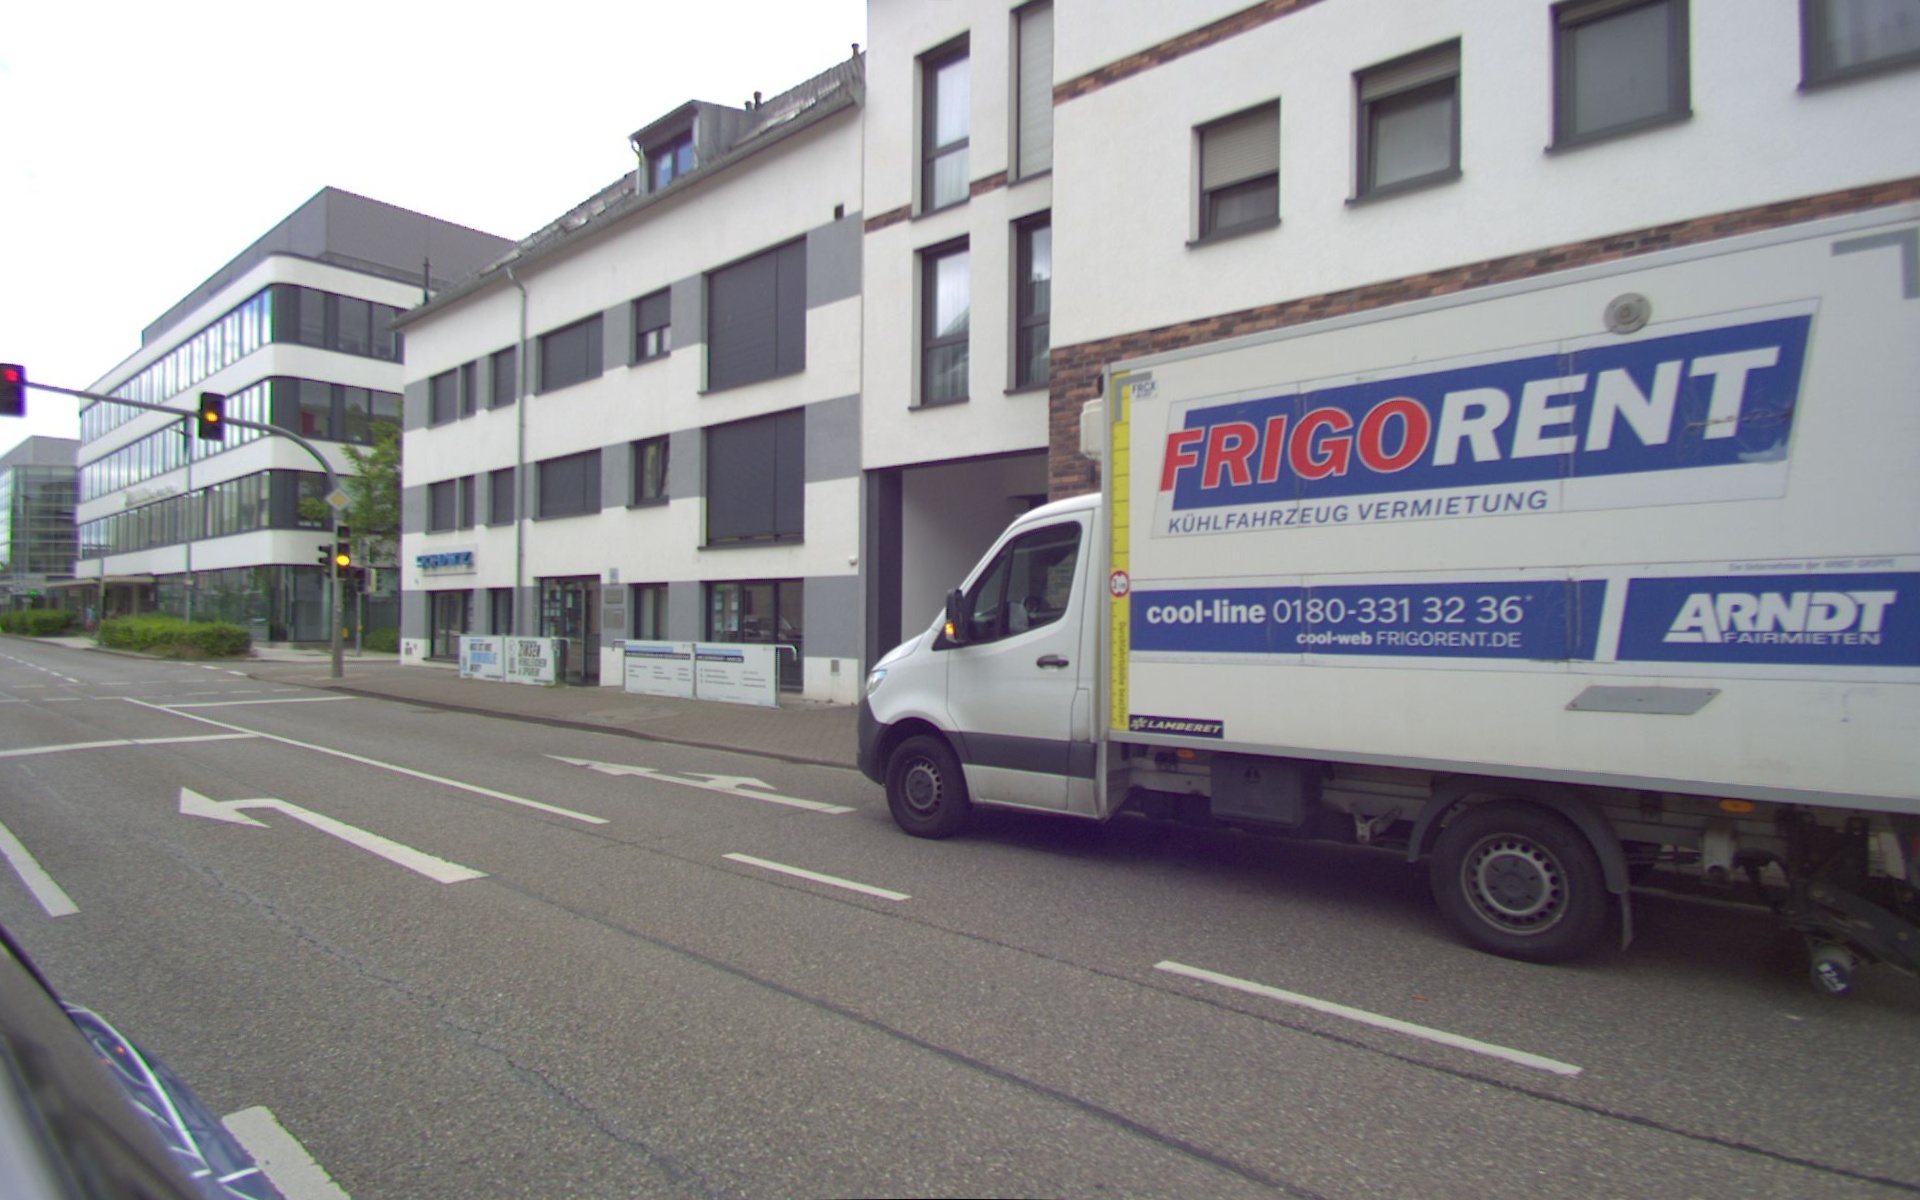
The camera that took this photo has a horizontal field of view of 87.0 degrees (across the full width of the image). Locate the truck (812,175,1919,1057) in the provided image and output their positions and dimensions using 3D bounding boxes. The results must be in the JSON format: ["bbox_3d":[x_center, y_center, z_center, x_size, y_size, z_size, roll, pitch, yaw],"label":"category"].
[{"bbox_3d":[1.993,0.073,6.175,5.962,2.993,2.437,-1,0,41],"label":"truck"}]
